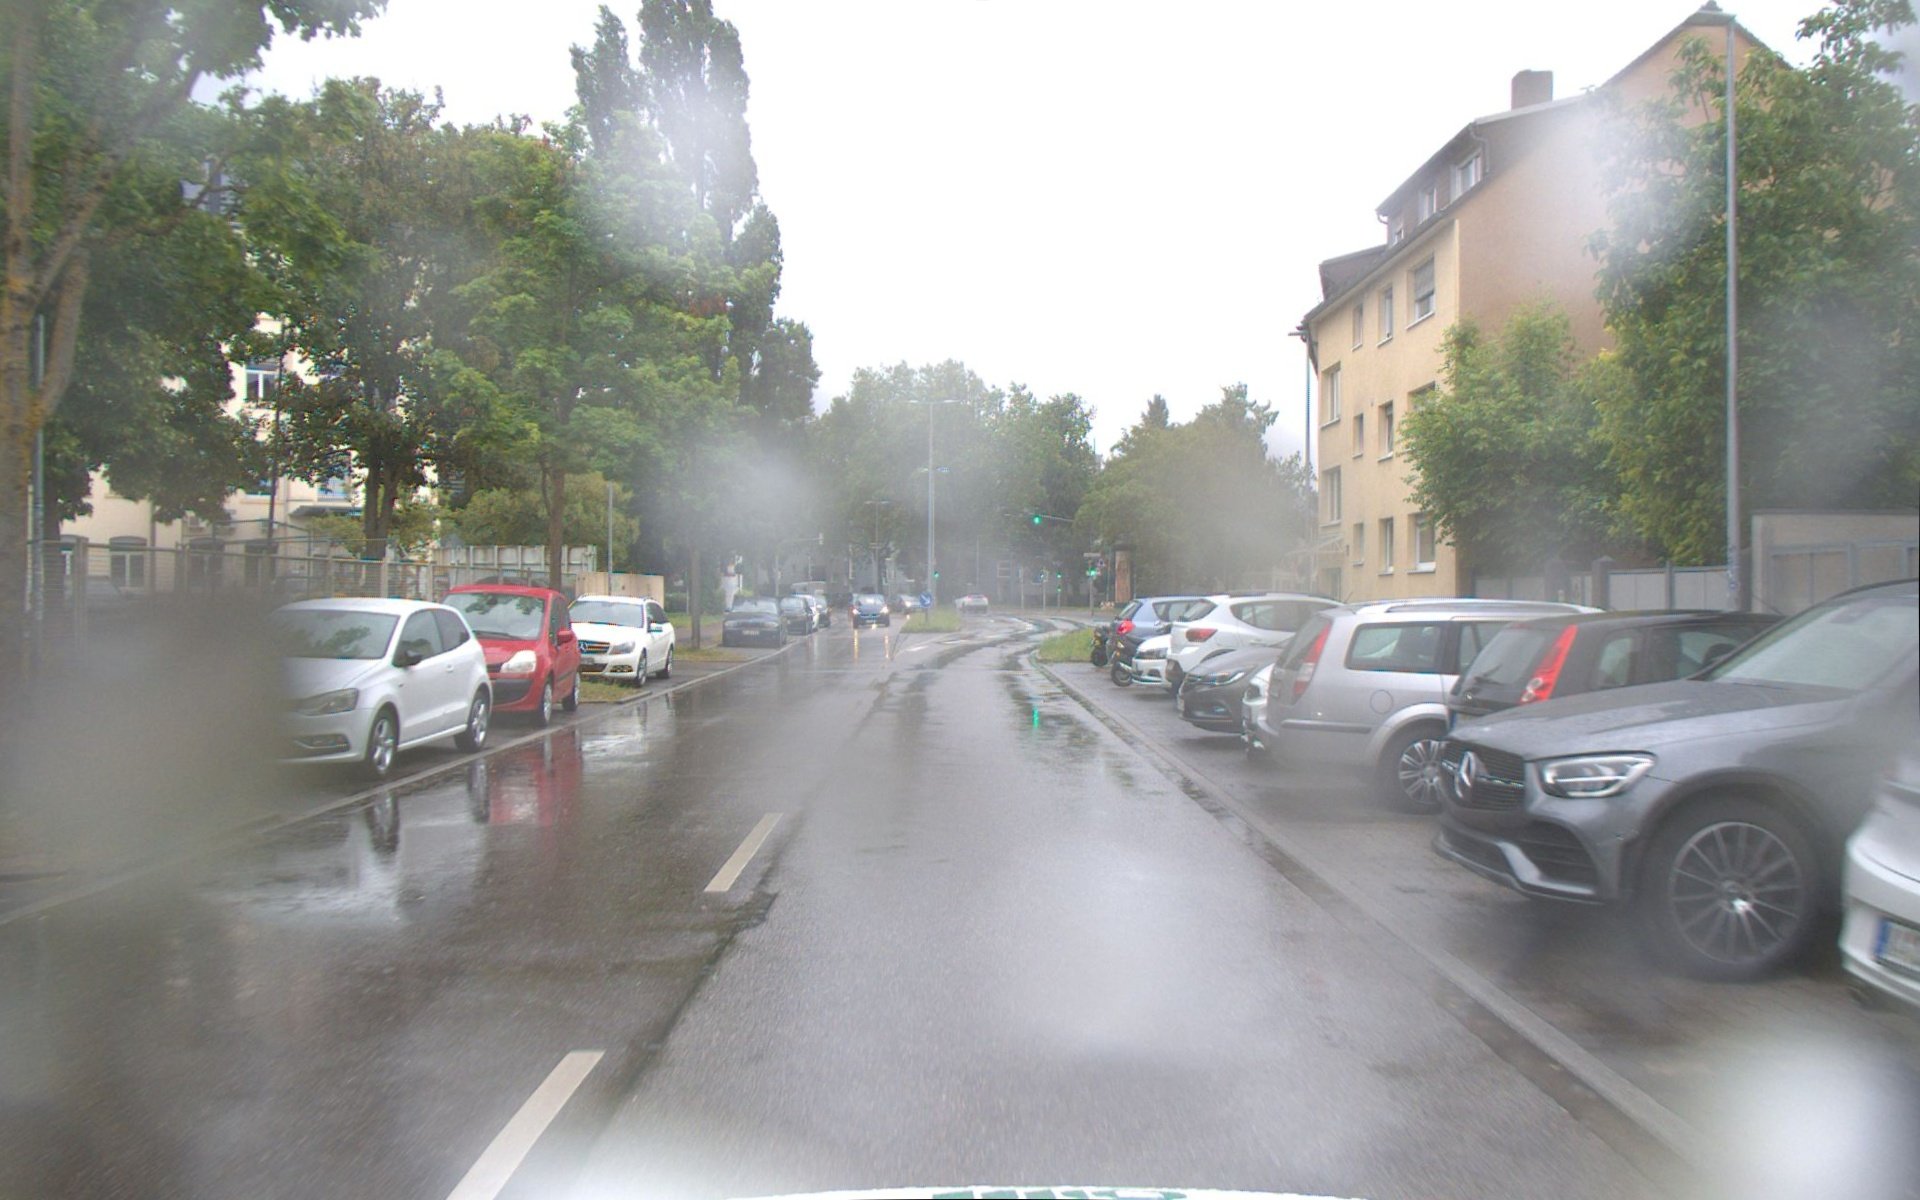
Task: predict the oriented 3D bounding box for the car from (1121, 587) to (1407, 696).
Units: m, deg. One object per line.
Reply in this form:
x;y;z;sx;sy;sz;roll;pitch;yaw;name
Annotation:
4.520;0.610;24.970;3.908;1.516;1.861;1;0;-4;car

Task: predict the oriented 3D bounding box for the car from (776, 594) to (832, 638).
-6.539;0.653;69.665;1.887;1.761;4.000;1;0;1;car

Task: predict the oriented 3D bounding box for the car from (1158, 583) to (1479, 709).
4.777;0.601;22.423;3.907;1.579;1.904;1;0;-3;car

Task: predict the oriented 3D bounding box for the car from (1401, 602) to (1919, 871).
4.906;0.774;10.124;3.906;1.436;1.845;1;1;-1;car

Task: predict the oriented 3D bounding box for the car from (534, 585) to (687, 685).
-5.926;0.558;28.532;1.732;1.555;4.596;1;0;-1;car

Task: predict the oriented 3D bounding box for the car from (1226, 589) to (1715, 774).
4.505;0.696;15.037;3.904;1.499;1.803;1;0;2;car

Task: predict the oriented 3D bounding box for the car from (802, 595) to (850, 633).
-6.451;0.681;79.941;1.887;1.761;4.000;1;0;1;car

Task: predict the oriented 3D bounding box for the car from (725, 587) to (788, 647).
-5.982;0.463;48.557;1.742;1.556;3.994;1;2;-8;car

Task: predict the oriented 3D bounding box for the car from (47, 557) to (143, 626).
-19.811;-0.189;37.823;1.688;1.459;3.610;1;0;-32;car

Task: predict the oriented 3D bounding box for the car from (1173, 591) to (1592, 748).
4.312;0.690;17.308;3.905;1.491;1.781;1;0;-1;car

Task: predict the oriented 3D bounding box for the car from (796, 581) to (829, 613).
-15.579;-0.305;174.098;2.188;3.294;4.640;1;0;-22;car

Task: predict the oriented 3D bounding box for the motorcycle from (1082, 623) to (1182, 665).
3.569;0.909;34.363;2.028;0.806;0.711;1;0;6;motorcycle

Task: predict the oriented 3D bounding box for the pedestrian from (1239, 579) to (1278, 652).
8.632;0.446;47.839;0.989;2.049;0.952;1;0;17;pedestrian

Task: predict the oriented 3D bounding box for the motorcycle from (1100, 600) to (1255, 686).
3.519;0.689;26.862;2.352;1.347;0.918;1;0;-5;motorcycle

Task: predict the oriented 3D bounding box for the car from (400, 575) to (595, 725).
-5.531;0.553;20.220;1.594;1.626;4.196;1;0;-6;car

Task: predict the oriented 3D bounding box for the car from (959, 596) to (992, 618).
1.088;0.477;118.869;1.815;1.551;3.993;0;0;-8;car

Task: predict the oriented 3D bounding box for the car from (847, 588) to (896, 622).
-4.042;0.241;76.038;1.952;1.512;4.000;1;0;1;car

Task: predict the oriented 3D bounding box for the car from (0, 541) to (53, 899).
-5.417;0.557;5.941;1.739;1.709;4.600;3;1;0;car

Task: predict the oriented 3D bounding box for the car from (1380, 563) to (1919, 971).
4.319;0.687;7.571;4.253;1.579;2.039;1;0;-1;car

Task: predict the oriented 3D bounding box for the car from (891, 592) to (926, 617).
-3.690;0.314;118.164;1.711;1.718;3.986;1;0;-14;car

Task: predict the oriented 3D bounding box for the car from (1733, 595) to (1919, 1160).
4.546;0.756;4.437;4.013;1.483;2.000;1;0;1;car

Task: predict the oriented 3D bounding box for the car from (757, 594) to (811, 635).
-6.716;0.538;63.347;1.891;1.510;3.997;0;0;-4;car

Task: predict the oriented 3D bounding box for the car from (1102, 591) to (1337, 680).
4.600;0.623;29.756;3.905;1.487;1.934;1;0;0;car

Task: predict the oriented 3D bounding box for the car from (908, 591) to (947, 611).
-2.649;0.076;134.293;1.824;1.551;4.125;0;0;-22;car

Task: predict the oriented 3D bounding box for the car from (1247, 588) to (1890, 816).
4.387;0.696;12.535;4.179;1.479;1.985;1;1;5;car

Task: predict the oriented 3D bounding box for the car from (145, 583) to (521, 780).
-5.395;0.634;14.854;1.626;1.486;4.174;1;0;2;car
